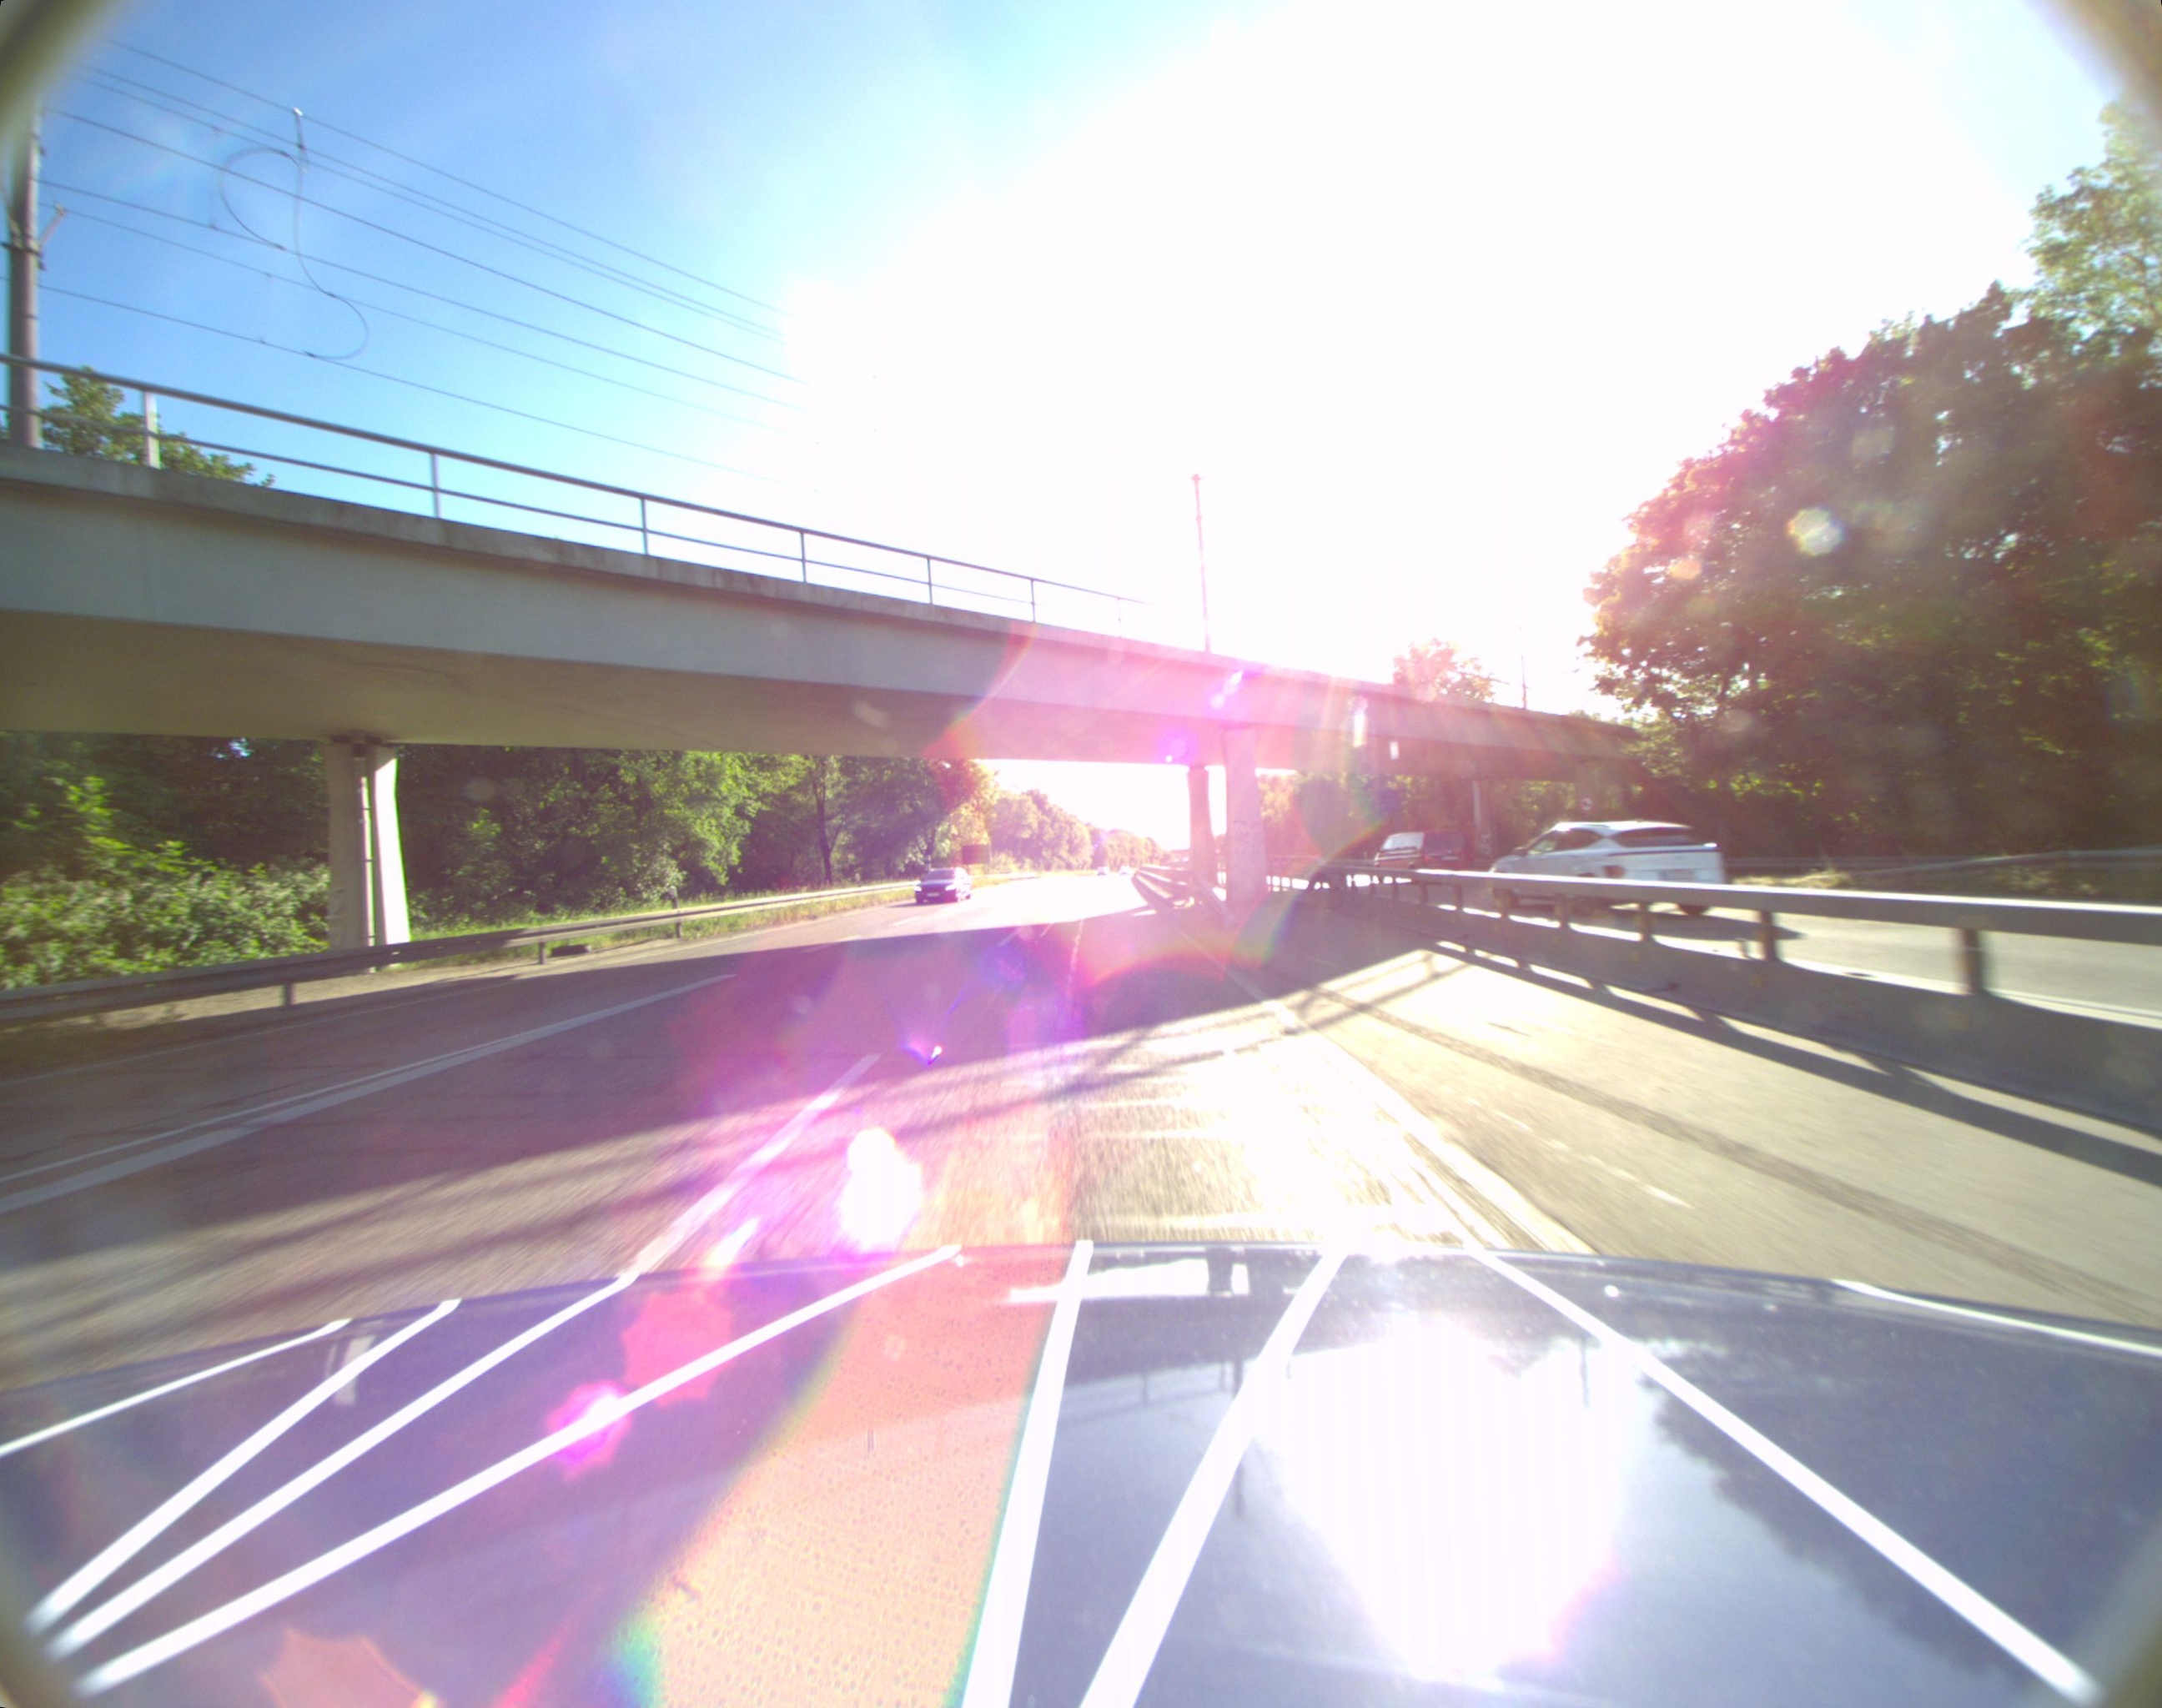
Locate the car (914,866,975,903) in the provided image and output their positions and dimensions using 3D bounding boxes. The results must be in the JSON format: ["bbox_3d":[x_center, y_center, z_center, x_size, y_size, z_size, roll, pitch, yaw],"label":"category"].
[{"bbox_3d":[-5.843,1.290,32.973,1.763,1.401,4.056,-2,0,2],"label":"car"}]

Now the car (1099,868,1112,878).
[{"bbox_3d":[4.045,3.120,124.954,1.682,1.412,3.671,-3,0,6],"label":"car"}]

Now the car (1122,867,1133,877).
[{"bbox_3d":[7.651,2.960,126.048,1.725,1.412,3.670,-3,0,3],"label":"car"}]

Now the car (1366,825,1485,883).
[{"bbox_3d":[12.795,-0.003,28.710,1.998,1.899,5.521,-2,0,1],"label":"car"}]

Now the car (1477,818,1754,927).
[{"bbox_3d":[9.115,0.281,13.546,1.791,1.569,4.533,-2,0,1],"label":"car"}]

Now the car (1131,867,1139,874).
[{"bbox_3d":[11.825,3.498,165.403,1.725,1.412,3.671,-3,0,5],"label":"car"}]

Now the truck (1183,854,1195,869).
[{"bbox_3d":[26.001,1.804,182.538,2.423,3.377,9.620,-2,0,6],"label":"truck"}]
